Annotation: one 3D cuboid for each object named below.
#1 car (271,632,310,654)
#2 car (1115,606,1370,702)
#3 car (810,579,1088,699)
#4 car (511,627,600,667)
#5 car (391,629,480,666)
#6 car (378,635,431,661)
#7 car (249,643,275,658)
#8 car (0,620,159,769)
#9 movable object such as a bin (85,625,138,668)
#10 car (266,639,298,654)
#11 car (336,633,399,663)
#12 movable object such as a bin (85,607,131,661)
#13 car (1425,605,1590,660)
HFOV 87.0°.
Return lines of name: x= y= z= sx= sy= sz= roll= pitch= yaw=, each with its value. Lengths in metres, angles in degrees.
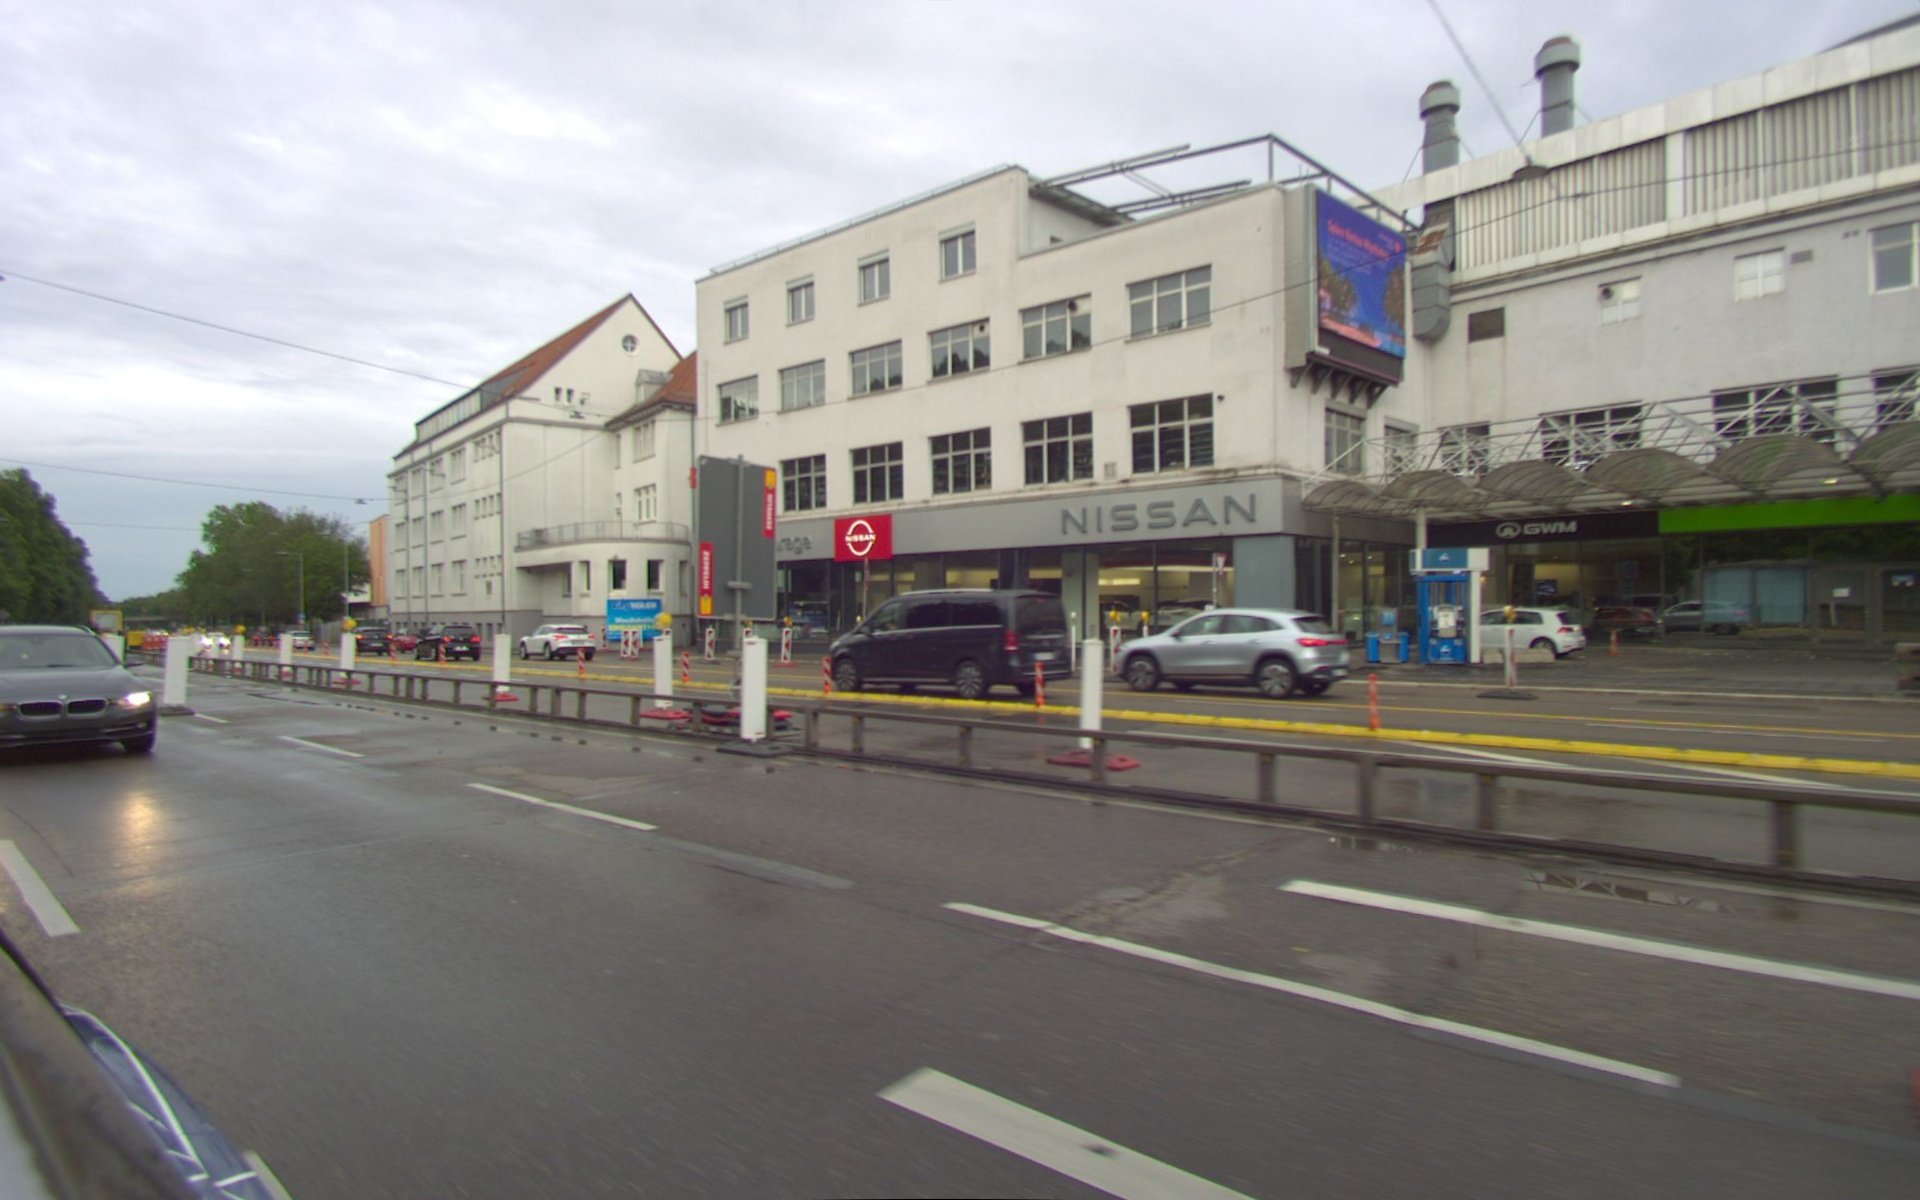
car: x=-47.943 y=3.065 z=72.468 sx=1.680 sy=1.475 sz=4.122 roll=3 pitch=-4 yaw=-42
car: x=5.177 y=0.943 z=18.898 sx=4.263 sy=1.597 sz=1.729 roll=-1 pitch=-2 yaw=42
car: x=-0.332 y=0.692 z=18.924 sx=5.228 sy=1.951 sz=1.973 roll=-1 pitch=-2 yaw=41
car: x=-16.661 y=1.901 z=41.625 sx=1.763 sy=1.519 sz=4.524 roll=1 pitch=-2 yaw=-45
car: x=-21.401 y=1.891 z=41.215 sx=4.813 sy=1.362 sz=1.778 roll=-1 pitch=-2 yaw=44
car: x=-32.342 y=2.786 z=58.920 sx=3.710 sy=1.425 sz=1.714 roll=-1 pitch=-2 yaw=45
car: x=-79.913 y=5.737 z=115.797 sx=1.969 sy=1.597 sz=4.216 roll=1 pitch=-3 yaw=-41
car: x=-10.817 y=1.001 z=11.658 sx=4.175 sy=1.461 sz=1.741 roll=-2 pitch=-2 yaw=41
movable object such as a bin: x=-44.105 y=2.390 z=52.555 sx=1.969 sy=2.128 sz=3.854 roll=1 pitch=-3 yaw=-42
car: x=-65.537 y=4.458 z=97.821 sx=4.002 sy=1.392 sz=1.836 roll=-2 pitch=-3 yaw=45
car: x=-30.110 y=2.405 z=51.361 sx=3.806 sy=1.397 sz=1.778 roll=-1 pitch=-2 yaw=44
movable object such as a bin: x=-47.621 y=1.928 z=56.548 sx=1.800 sy=2.935 sz=3.611 roll=2 pitch=-3 yaw=-42
car: x=16.076 y=0.940 z=29.815 sx=3.967 sy=1.494 sz=1.793 roll=-1 pitch=-2 yaw=43
